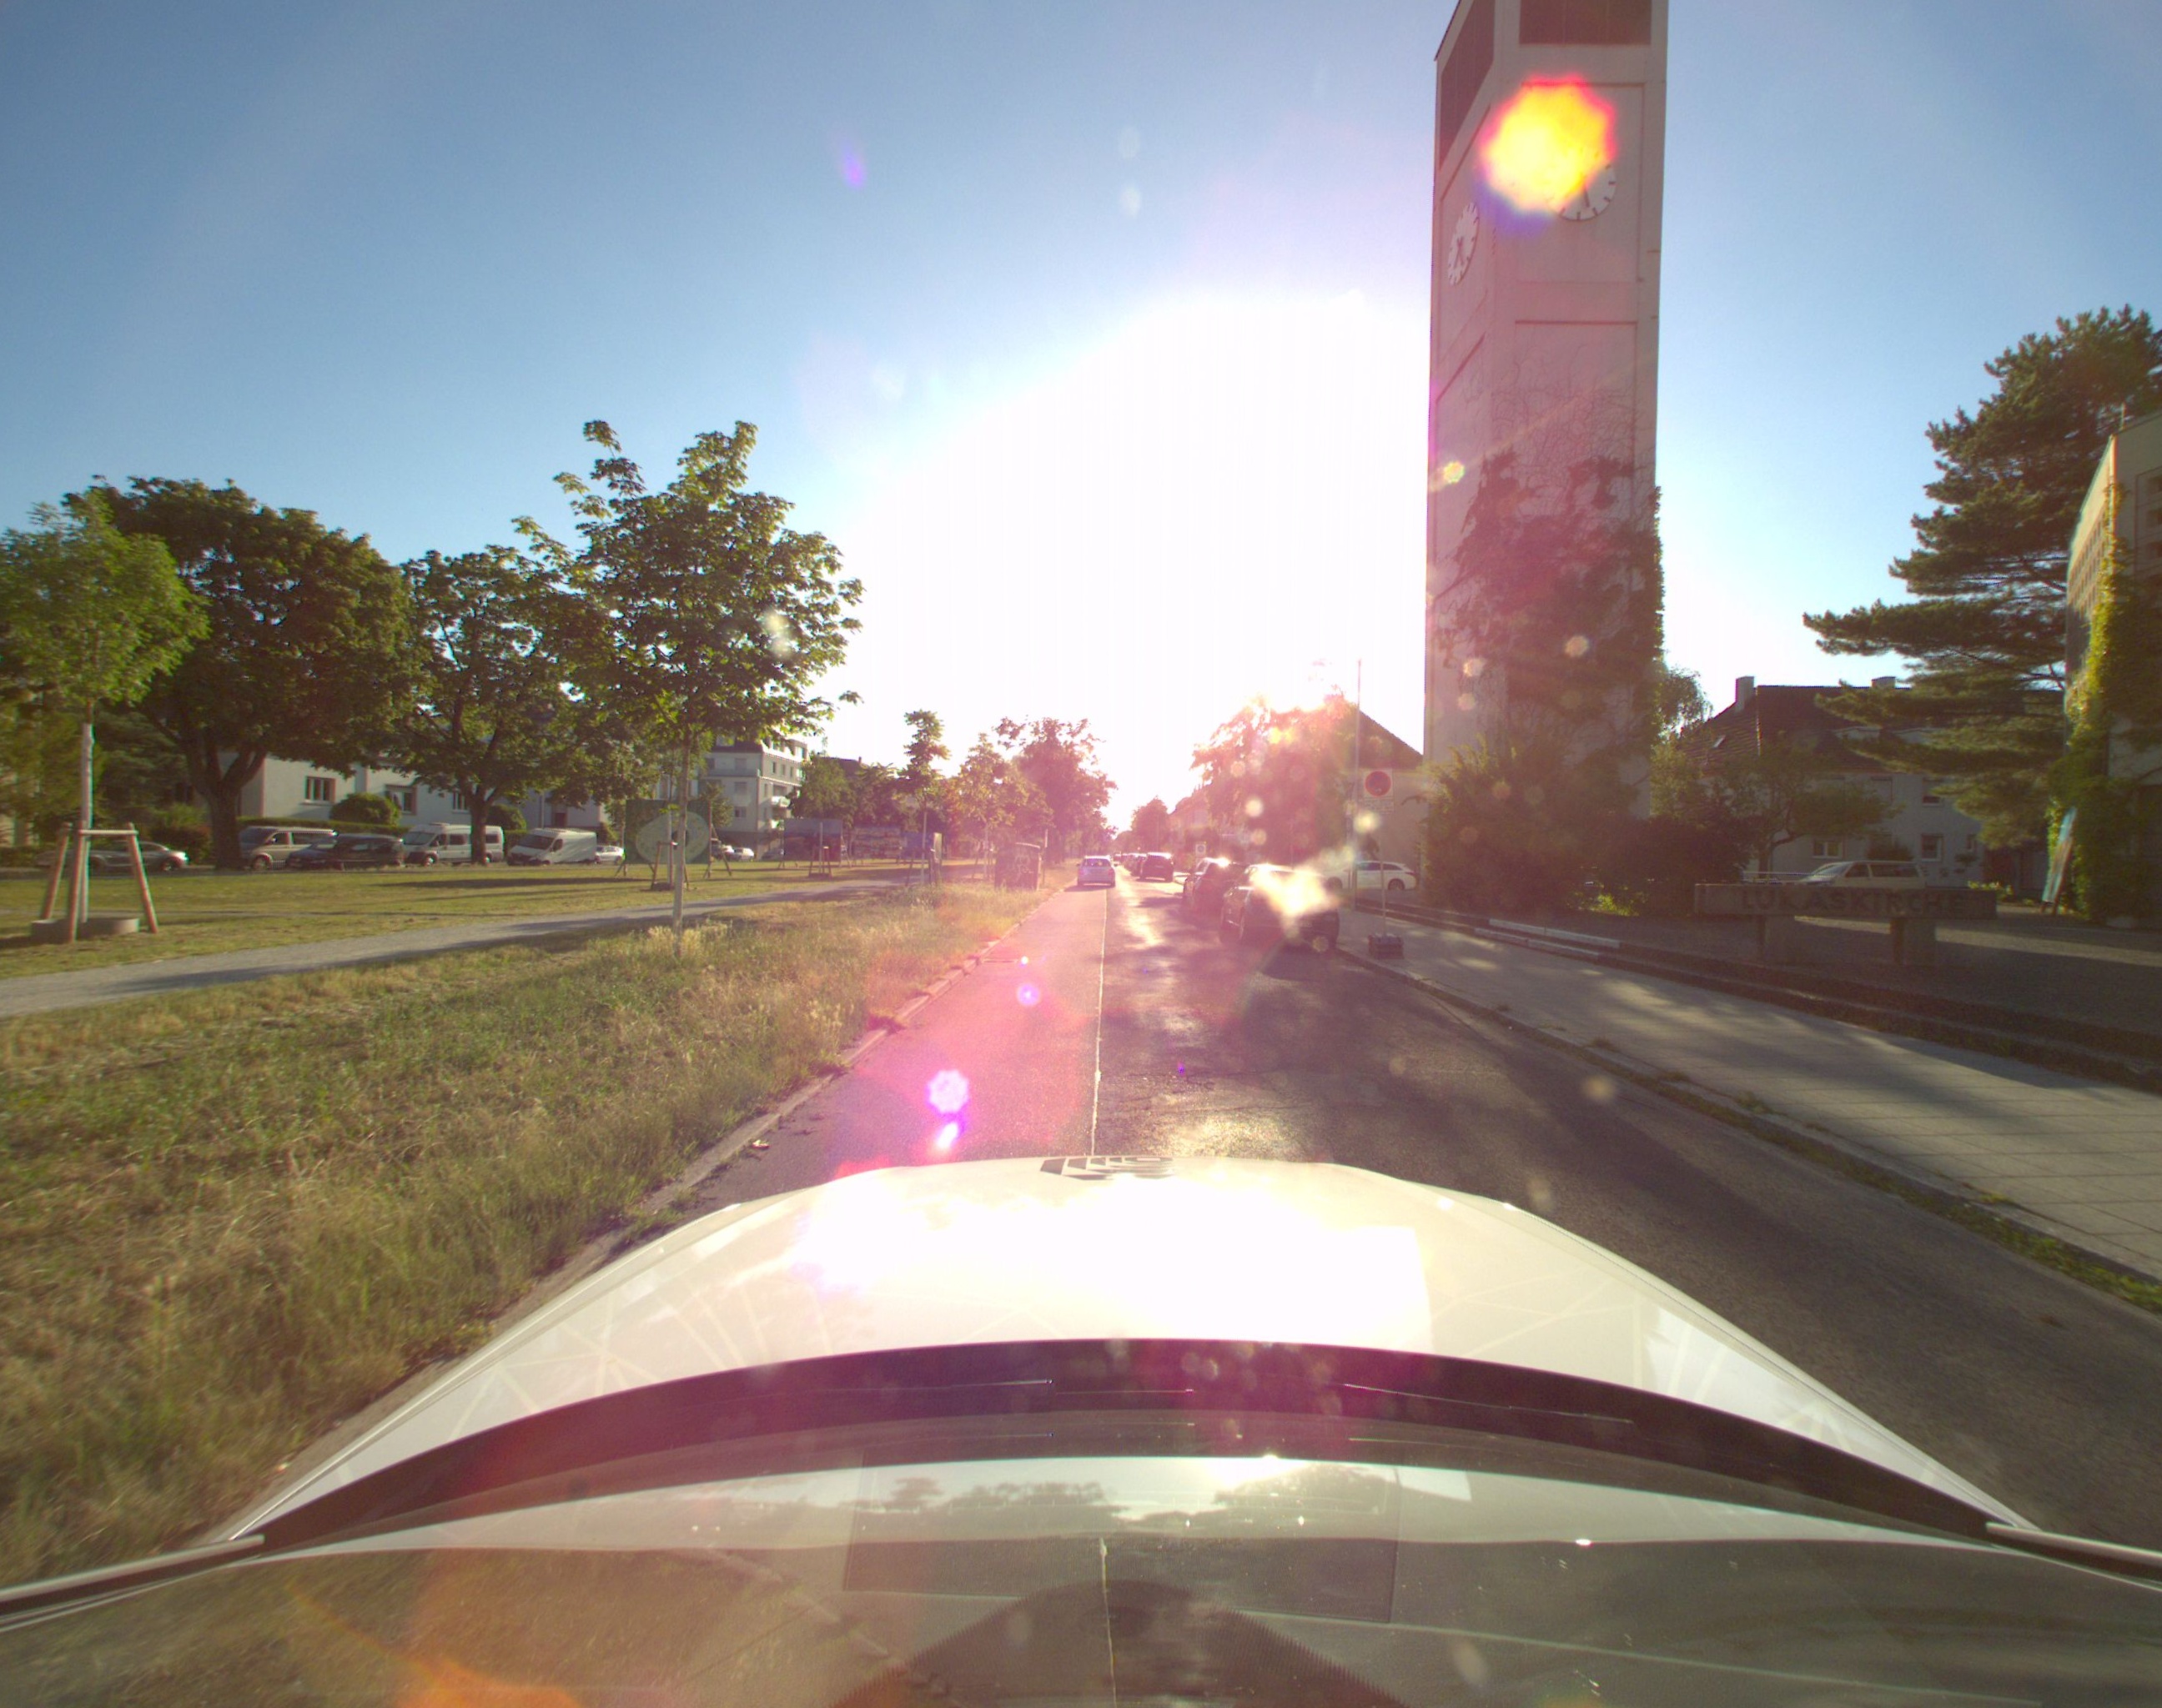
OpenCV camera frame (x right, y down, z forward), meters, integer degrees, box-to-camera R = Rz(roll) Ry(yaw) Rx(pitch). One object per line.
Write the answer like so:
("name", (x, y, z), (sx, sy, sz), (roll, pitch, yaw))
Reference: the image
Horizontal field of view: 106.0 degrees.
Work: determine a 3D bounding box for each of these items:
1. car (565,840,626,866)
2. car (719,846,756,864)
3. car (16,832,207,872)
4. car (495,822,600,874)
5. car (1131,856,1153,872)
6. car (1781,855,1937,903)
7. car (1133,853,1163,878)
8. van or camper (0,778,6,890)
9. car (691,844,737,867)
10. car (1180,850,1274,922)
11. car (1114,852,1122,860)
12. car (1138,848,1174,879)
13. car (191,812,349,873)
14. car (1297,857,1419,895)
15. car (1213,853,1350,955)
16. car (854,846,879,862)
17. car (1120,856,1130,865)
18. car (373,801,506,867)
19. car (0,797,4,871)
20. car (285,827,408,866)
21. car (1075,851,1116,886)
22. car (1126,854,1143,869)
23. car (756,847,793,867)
("car", (-37.600, -0.077, 63.223), (1.723, 1.854, 4.715), (-2, -1, 2))
("car", (-36.845, 0.158, 87.501), (1.814, 1.744, 4.463), (-2, -1, 3))
("car", (-38.768, -0.039, 32.775), (1.984, 1.403, 4.568), (-2, -1, 6))
("car", (-32.070, -0.291, 49.220), (2.251, 2.826, 5.874), (-2, -1, 2))
("car", (5.825, 0.957, 78.706), (1.985, 1.462, 4.565), (3, 0, 3))
("car", (34.680, 1.138, 36.383), (4.990, 1.973, 2.171), (1, -3, -3))
("car", (5.121, 0.838, 62.797), (1.926, 1.720, 4.623), (4, 0, 2))
("van or camper", (-33.044, -0.603, 20.468), (2.631, 3.262, 6.909), (1, 0, 3))
("car", (-37.188, 0.163, 82.663), (2.229, 2.131, 4.857), (-2, -1, 3))
("car", (3.896, 0.785, 22.555), (1.815, 1.561, 4.625), (7, 0, 3))
("car", (9.430, 0.549, 207.448), (1.981, 2.023, 4.002), (1, 0, 2))
("car", (4.668, 0.619, 51.010), (1.826, 1.732, 5.033), (3, -1, 2))
("car", (-38.363, -0.453, 38.785), (2.128, 2.604, 5.325), (-2, -1, 0))
("car", (12.441, 1.010, 36.776), (4.829, 1.486, 2.002), (2, -4, 1))
("car", (3.724, 0.844, 15.846), (1.681, 1.527, 4.177), (5, 1, 2))
("car", (-29.896, 0.081, 113.579), (1.986, 2.057, 5.054), (-2, -1, 2))
("car", (8.072, 1.139, 149.105), (1.715, 1.597, 4.002), (1, -1, 2))
("car", (-37.893, -1.054, 48.475), (2.294, 3.559, 6.768), (-2, -1, 2))
("car", (-39.295, -0.732, 25.851), (1.986, 2.598, 6.092), (-2, -1, 2))
("car", (-32.198, -0.305, 35.872), (1.409, 1.564, 4.310), (1, 0, 1))
("car", (0.753, 0.647, 38.290), (1.816, 1.566, 4.003), (0, 0, 2))
("car", (6.174, 0.878, 95.130), (1.770, 1.643, 4.758), (1, -1, 2))
("car", (-31.184, 0.318, 83.022), (1.882, 1.917, 4.329), (-2, -1, 2))
